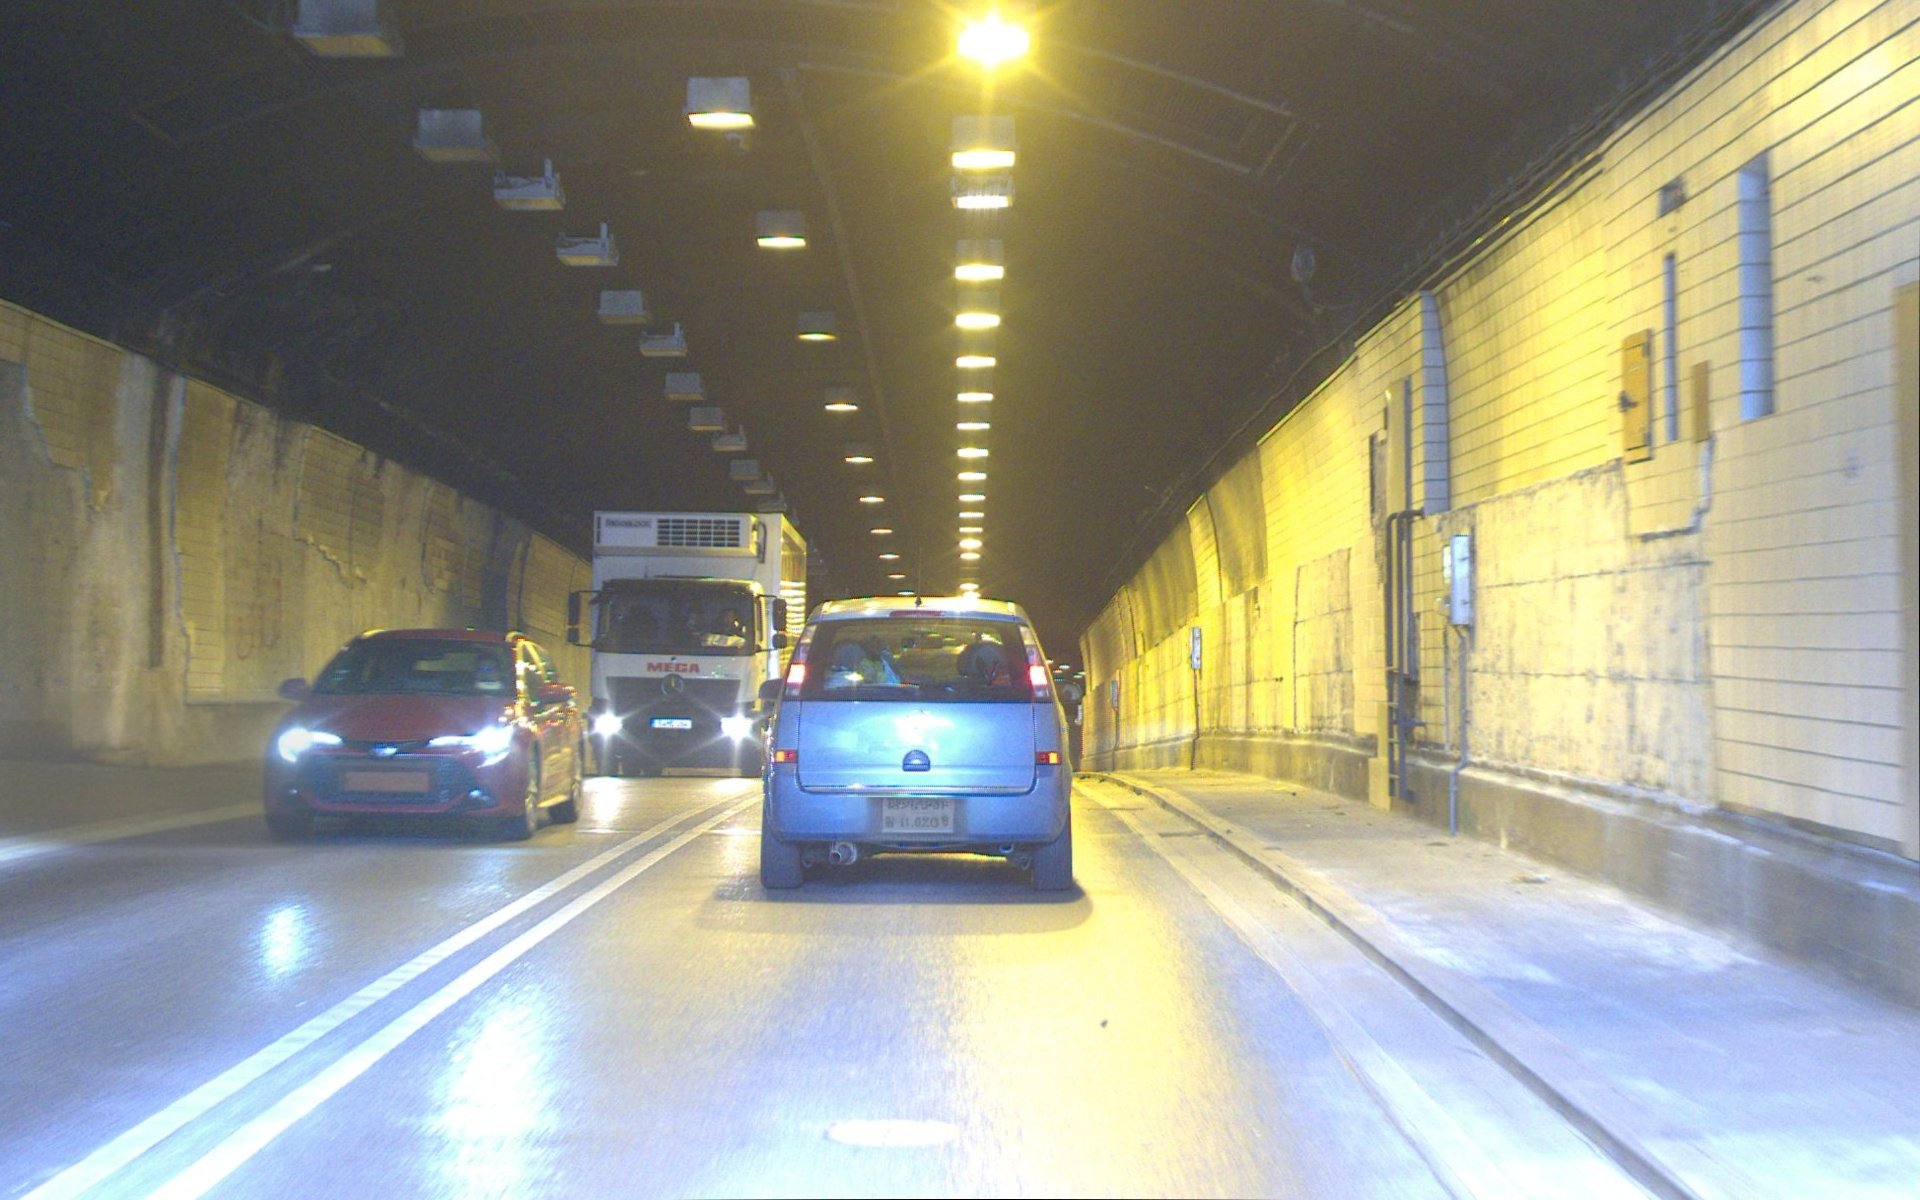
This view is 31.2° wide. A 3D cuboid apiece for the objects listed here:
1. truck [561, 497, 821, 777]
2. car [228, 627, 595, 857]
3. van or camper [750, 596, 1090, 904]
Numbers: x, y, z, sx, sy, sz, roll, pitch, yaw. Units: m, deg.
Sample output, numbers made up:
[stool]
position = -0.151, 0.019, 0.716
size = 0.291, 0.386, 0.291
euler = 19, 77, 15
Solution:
[truck]
position = -3.708, 0.638, 49.200
size = 2.814, 3.704, 7.544
euler = 0, -2, 2
[car]
position = -3.772, 0.958, 24.345
size = 1.893, 1.464, 4.160
euler = 1, -1, 0
[van or camper]
position = -0.242, 0.804, 19.587
size = 1.735, 1.573, 3.646
euler = 1, -1, -1
